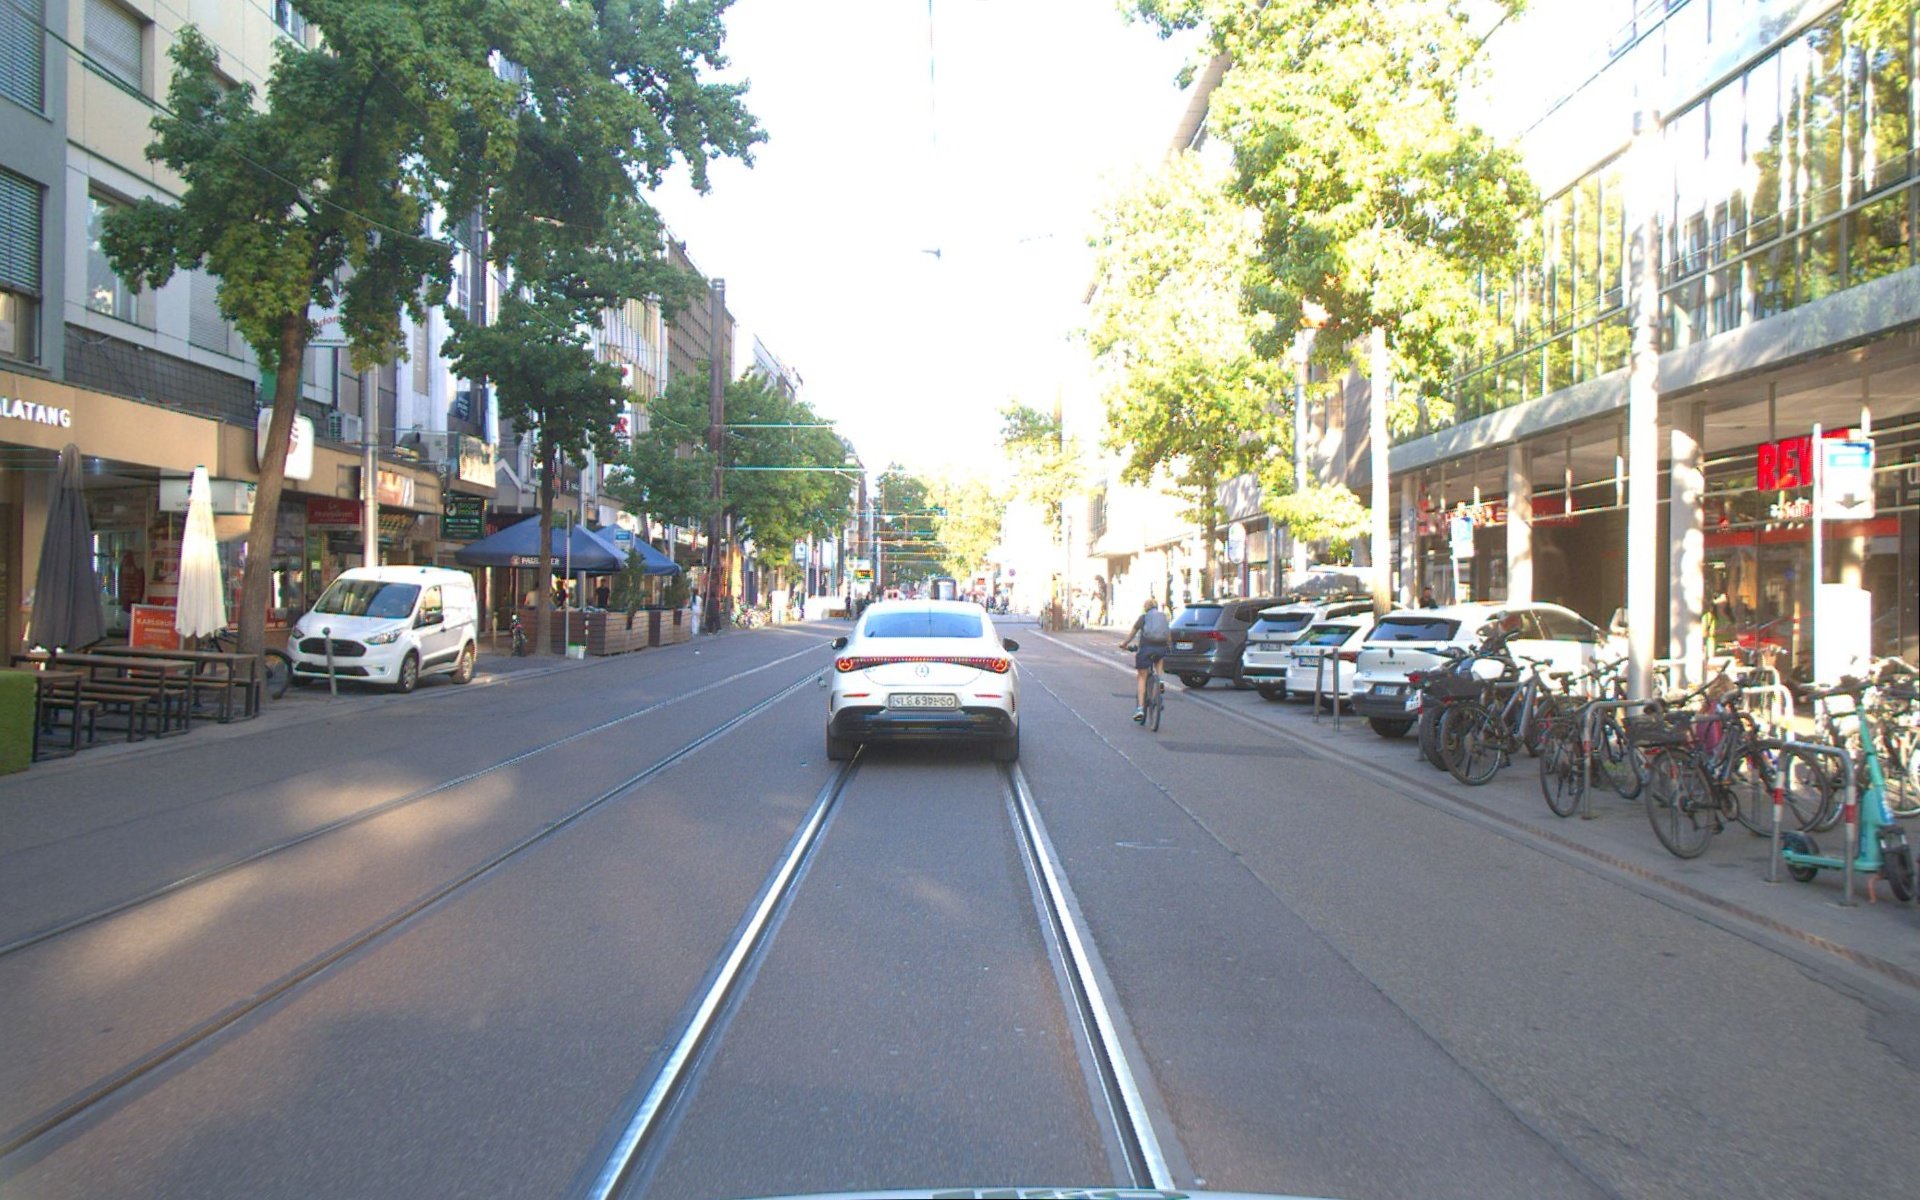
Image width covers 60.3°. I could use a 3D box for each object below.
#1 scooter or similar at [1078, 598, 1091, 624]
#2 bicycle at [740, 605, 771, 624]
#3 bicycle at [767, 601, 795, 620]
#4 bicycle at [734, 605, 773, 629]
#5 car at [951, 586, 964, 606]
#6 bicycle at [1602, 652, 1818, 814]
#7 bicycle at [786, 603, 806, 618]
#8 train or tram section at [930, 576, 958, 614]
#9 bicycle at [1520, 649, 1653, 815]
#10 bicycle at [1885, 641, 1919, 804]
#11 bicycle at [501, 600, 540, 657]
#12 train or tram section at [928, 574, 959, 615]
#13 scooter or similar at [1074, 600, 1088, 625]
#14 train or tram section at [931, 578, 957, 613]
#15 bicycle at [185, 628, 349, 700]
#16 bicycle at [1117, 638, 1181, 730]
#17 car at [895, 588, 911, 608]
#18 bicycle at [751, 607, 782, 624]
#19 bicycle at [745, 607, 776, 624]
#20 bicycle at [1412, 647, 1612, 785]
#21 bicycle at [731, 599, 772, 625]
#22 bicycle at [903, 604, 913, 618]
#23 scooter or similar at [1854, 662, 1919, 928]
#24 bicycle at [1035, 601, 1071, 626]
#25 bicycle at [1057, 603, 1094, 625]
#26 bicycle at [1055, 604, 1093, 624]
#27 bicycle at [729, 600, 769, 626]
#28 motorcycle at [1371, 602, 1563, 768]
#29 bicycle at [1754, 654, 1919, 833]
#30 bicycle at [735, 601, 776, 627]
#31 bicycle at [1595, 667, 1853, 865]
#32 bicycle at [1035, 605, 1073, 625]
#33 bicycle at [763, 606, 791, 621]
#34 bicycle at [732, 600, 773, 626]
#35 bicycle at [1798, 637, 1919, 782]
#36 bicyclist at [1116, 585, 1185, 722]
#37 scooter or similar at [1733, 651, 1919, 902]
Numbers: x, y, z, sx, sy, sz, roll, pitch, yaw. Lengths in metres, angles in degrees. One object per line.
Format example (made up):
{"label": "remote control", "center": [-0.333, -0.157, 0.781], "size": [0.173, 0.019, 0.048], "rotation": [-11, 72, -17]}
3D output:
{"label": "scooter or similar", "center": [6.383, 0.553, 85.042], "size": [0.482, 1.299, 0.658], "rotation": [-1, 0, -12]}
{"label": "bicycle", "center": [-9.967, 0.717, 80.687], "size": [1.462, 0.855, 0.344], "rotation": [2, 0, 1]}
{"label": "bicycle", "center": [-9.959, 0.588, 92.028], "size": [1.466, 1.047, 0.344], "rotation": [2, 0, -11]}
{"label": "bicycle", "center": [-8.705, 0.719, 69.872], "size": [1.562, 0.947, 0.377], "rotation": [2, 0, 6]}
{"label": "car", "center": [-0.365, -0.616, 252.617], "size": [2.056, 2.948, 5.284], "rotation": [0, 0, 0]}
{"label": "bicycle", "center": [5.979, 1.027, 13.167], "size": [1.669, 1.125, 0.626], "rotation": [-3, 0, -27]}
{"label": "bicycle", "center": [-11.229, 0.722, 113.207], "size": [0.703, 1.027, 2.041], "rotation": [0, 0, 13]}
{"label": "train or tram section", "center": [-1.583, -0.497, 163.548], "size": [2.639, 3.578, 12.543], "rotation": [0, 0, 0]}
{"label": "bicycle", "center": [5.108, 1.039, 13.440], "size": [0.472, 1.183, 1.687], "rotation": [-3, 0, 39]}
{"label": "bicycle", "center": [7.845, 0.912, 12.622], "size": [1.253, 1.193, 0.859], "rotation": [-3, 2, -31]}
{"label": "bicycle", "center": [-9.847, 0.623, 37.033], "size": [0.687, 1.140, 2.076], "rotation": [3, 0, -18]}
{"label": "train or tram section", "center": [-1.501, -0.477, 150.997], "size": [2.639, 3.578, 12.543], "rotation": [0, 0, 0]}
{"label": "scooter or similar", "center": [6.266, 0.649, 85.664], "size": [0.518, 1.299, 0.658], "rotation": [-1, 0, -12]}
{"label": "train or tram section", "center": [-1.667, -0.512, 175.388], "size": [2.639, 3.578, 11.141], "rotation": [0, 0, 0]}
{"label": "bicycle", "center": [-9.324, 0.849, 22.315], "size": [0.821, 0.880, 1.852], "rotation": [3, 0, 38]}
{"label": "bicycle", "center": [2.402, 1.029, 20.857], "size": [0.703, 1.012, 2.060], "rotation": [2, 0, 8]}
{"label": "car", "center": [-7.581, -0.266, 220.171], "size": [1.871, 2.504, 5.274], "rotation": [0, 0, 0]}
{"label": "bicycle", "center": [-9.579, 0.759, 82.038], "size": [1.462, 0.797, 0.344], "rotation": [2, 0, 1]}
{"label": "bicycle", "center": [-9.804, 0.751, 81.343], "size": [1.462, 0.797, 0.344], "rotation": [2, 0, 1]}
{"label": "bicycle", "center": [5.143, 1.045, 15.390], "size": [1.870, 1.139, 0.661], "rotation": [-2, -1, -30]}
{"label": "bicycle", "center": [-9.161, 0.541, 72.733], "size": [1.754, 1.096, 0.377], "rotation": [2, 0, -5]}
{"label": "bicycle", "center": [-4.334, 0.894, 137.336], "size": [0.784, 1.162, 2.256], "rotation": [2, 0, -2]}
{"label": "scooter or similar", "center": [5.356, 0.974, 8.682], "size": [1.290, 1.298, 0.558], "rotation": [-3, 0, -33]}
{"label": "bicycle", "center": [5.086, 0.719, 90.518], "size": [1.874, 1.303, 0.608], "rotation": [-1, 0, -12]}
{"label": "bicycle", "center": [6.274, 0.749, 89.723], "size": [1.874, 1.177, 0.608], "rotation": [-1, 0, -12]}
{"label": "bicycle", "center": [6.394, 0.786, 92.850], "size": [2.077, 1.115, 0.608], "rotation": [0, 0, -14]}
{"label": "bicycle", "center": [-9.822, 0.604, 76.960], "size": [1.808, 1.160, 0.377], "rotation": [2, 0, 1]}
{"label": "motorcycle", "center": [5.228, 0.828, 16.958], "size": [2.302, 1.536, 0.845], "rotation": [-2, -1, -45]}
{"label": "bicycle", "center": [6.641, 1.010, 12.080], "size": [1.652, 1.093, 0.725], "rotation": [-3, 2, -31]}
{"label": "bicycle", "center": [-9.193, 0.627, 74.393], "size": [1.810, 1.096, 0.377], "rotation": [2, 0, -5]}
{"label": "bicycle", "center": [5.172, 1.081, 11.194], "size": [1.543, 1.107, 0.860], "rotation": [-3, 2, -31]}
{"label": "bicycle", "center": [5.299, 0.832, 93.505], "size": [2.076, 1.115, 0.608], "rotation": [1, -1, -12]}
{"label": "bicycle", "center": [-9.986, 0.729, 90.261], "size": [1.462, 0.797, 0.344], "rotation": [2, 0, 1]}
{"label": "bicycle", "center": [-9.175, 0.563, 73.190], "size": [1.754, 1.096, 0.377], "rotation": [2, 0, -5]}
{"label": "bicycle", "center": [8.259, 0.932, 14.554], "size": [1.751, 1.125, 0.627], "rotation": [-3, 0, -26]}
{"label": "bicyclist", "center": [2.379, 0.649, 20.596], "size": [0.761, 1.641, 0.913], "rotation": [2, 0, 8]}
{"label": "scooter or similar", "center": [5.078, 0.979, 9.635], "size": [0.441, 1.298, 1.306], "rotation": [-3, 0, -1]}
